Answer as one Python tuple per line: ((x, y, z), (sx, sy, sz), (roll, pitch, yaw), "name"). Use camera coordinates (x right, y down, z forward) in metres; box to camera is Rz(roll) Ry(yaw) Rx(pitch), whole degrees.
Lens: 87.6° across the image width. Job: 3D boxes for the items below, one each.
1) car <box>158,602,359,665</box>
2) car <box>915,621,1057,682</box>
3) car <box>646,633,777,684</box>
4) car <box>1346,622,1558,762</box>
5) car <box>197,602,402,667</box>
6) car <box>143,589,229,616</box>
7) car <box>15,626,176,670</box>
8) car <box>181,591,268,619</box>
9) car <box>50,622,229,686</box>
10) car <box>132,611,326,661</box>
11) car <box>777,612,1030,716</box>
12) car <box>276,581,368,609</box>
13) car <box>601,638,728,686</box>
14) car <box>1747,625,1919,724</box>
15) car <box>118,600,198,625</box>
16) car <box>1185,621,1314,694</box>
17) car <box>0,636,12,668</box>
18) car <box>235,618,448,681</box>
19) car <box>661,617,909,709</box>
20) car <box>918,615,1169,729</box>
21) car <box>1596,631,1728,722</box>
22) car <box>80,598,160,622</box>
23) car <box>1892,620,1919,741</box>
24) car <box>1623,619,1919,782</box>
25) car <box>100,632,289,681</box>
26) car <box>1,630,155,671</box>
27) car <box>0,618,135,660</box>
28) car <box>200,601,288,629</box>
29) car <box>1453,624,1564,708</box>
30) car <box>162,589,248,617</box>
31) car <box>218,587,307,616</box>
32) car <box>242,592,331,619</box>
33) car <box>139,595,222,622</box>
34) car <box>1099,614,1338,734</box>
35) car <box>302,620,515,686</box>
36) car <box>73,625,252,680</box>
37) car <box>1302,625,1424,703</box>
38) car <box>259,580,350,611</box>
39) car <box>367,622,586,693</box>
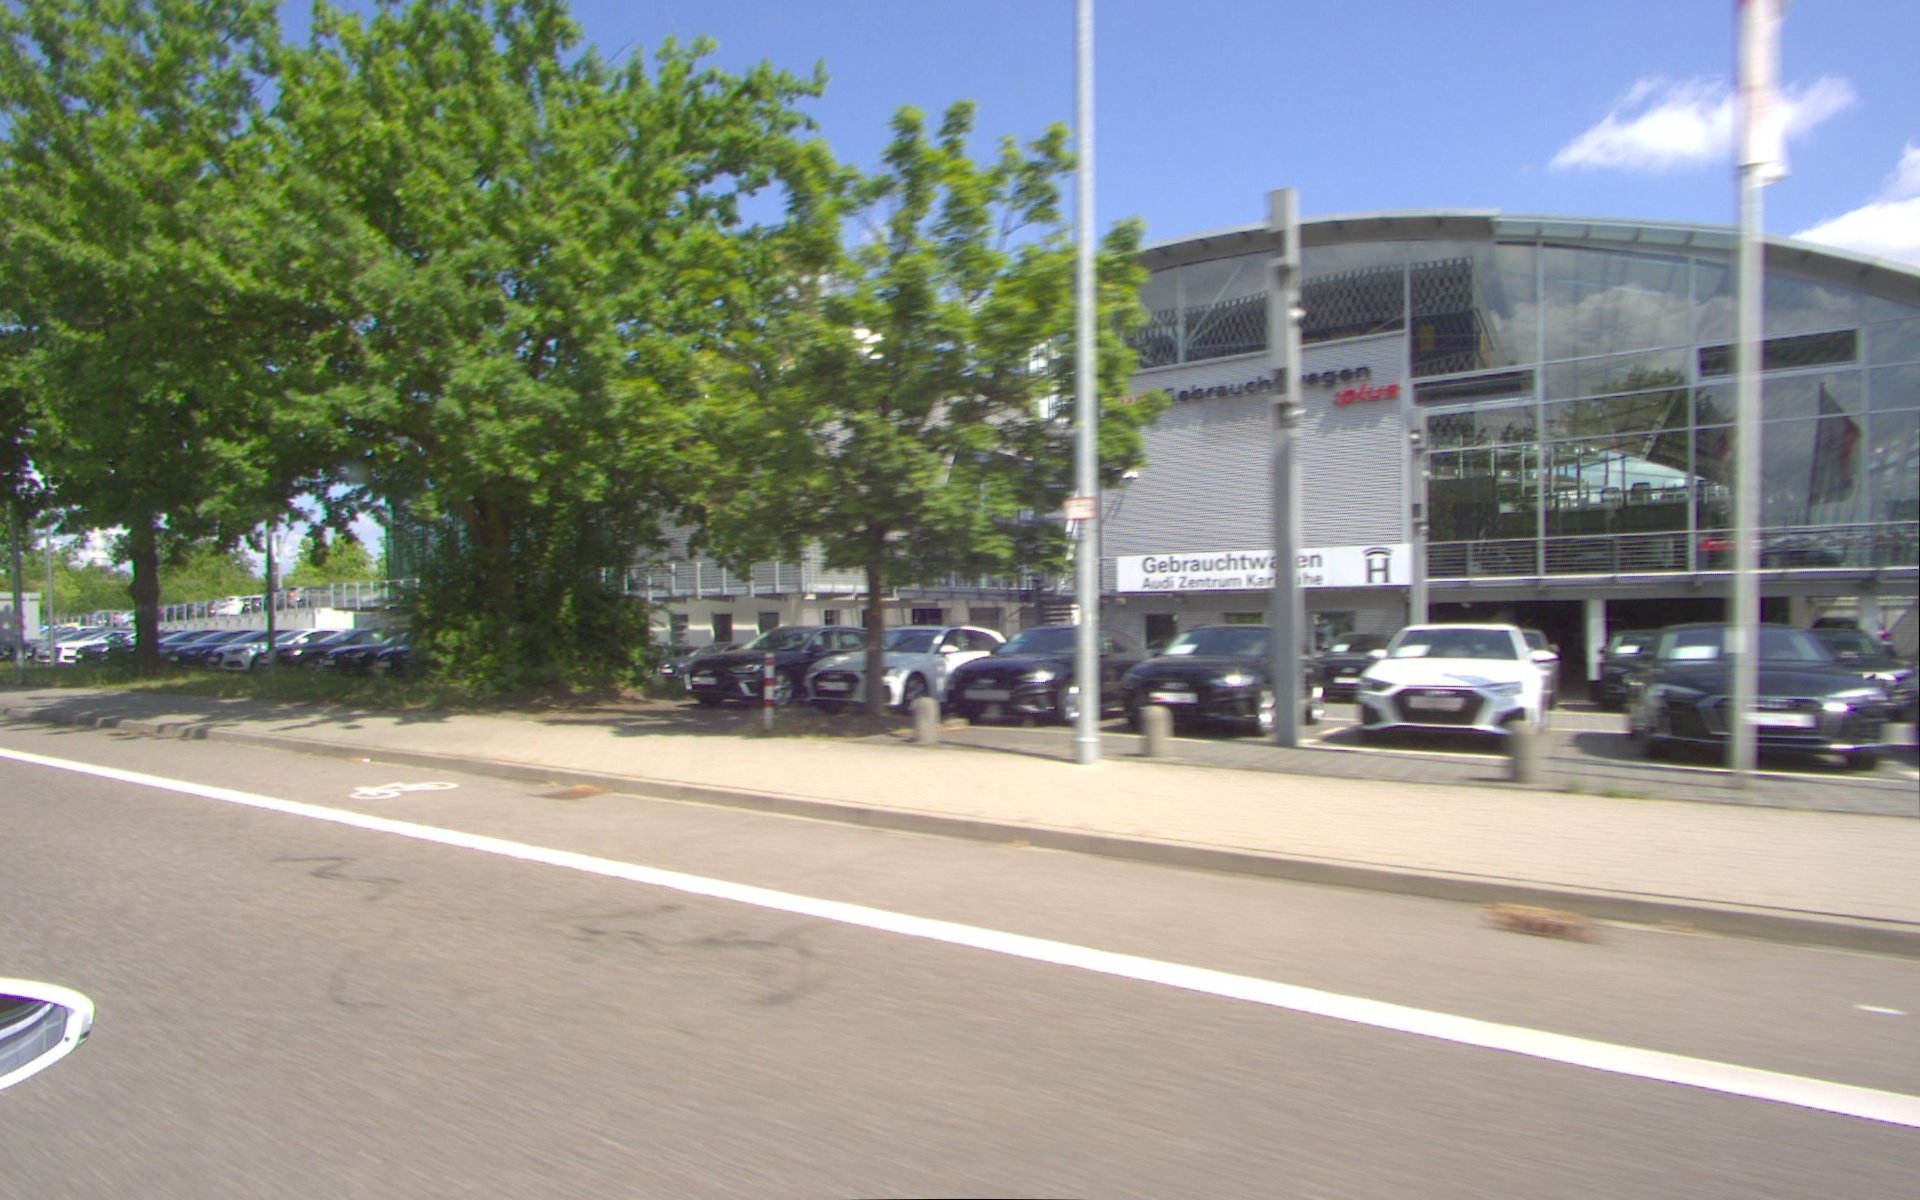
((-20.883, 0.966, 30.002), (1.879, 1.700, 4.567), (1, -1, 32), "car")
((0.823, 1.398, 28.466), (1.883, 1.518, 4.330), (-1, -1, 37), "car")
((-8.565, 1.981, 34.856), (1.880, 1.518, 4.338), (-1, -1, 32), "car")
((6.136, 0.953, 12.182), (1.879, 1.314, 4.567), (1, -1, 32), "car")
((-18.836, 0.957, 28.783), (1.879, 1.700, 4.567), (1, -1, 32), "car")
((-53.836, 0.209, 69.713), (1.909, 1.798, 4.343), (1, -1, 35), "car")
((-31.454, 1.698, 36.548), (1.792, 1.422, 4.099), (-1, -1, 32), "car")
((-49.473, 0.377, 67.408), (1.909, 1.798, 4.343), (1, -1, 35), "car")
((-29.001, 1.830, 35.561), (1.879, 2.076, 4.567), (1, 0, 32), "car")
((-22.829, 1.102, 31.460), (1.879, 1.423, 4.567), (1, -1, 32), "car")
((-0.745, 1.063, 16.566), (1.879, 1.422, 4.571), (1, -3, 32), "car")
((-38.629, -0.278, 60.703), (1.909, 1.572, 4.343), (1, -1, 35), "car")
((-10.734, 2.234, 36.699), (1.880, 1.518, 4.338), (-1, -1, 32), "car")
((15.953, 1.256, 18.346), (1.880, 1.518, 4.338), (-1, -1, 32), "car")
((-59.782, 0.952, 74.709), (1.909, 1.798, 4.343), (1, -1, 35), "car")
((7.031, 1.295, 24.014), (1.880, 1.518, 4.338), (-1, -1, 32), "car")
((-49.956, 2.586, 49.337), (1.907, 1.532, 4.349), (1, -1, 30), "car")
((-16.634, 1.277, 27.182), (1.880, 1.518, 4.566), (-1, -1, 32), "car")
((-3.005, 1.095, 18.211), (1.879, 1.423, 4.569), (1, -2, 32), "car")
((1.436, 1.025, 15.049), (1.879, 1.401, 4.570), (1, -2, 32), "car")
((13.941, 1.434, 20.100), (1.880, 1.518, 4.338), (-1, -1, 32), "car")
((-64.743, 0.783, 77.231), (1.909, 1.798, 4.343), (1, -1, 35), "car")
((10.656, 0.863, 9.405), (1.879, 1.314, 4.567), (1, -1, 32), "car")
((8.351, 0.888, 10.737), (1.879, 1.314, 4.567), (1, -1, 32), "car")
((-24.994, 1.789, 32.880), (1.879, 1.423, 4.567), (1, -1, 32), "car")
((-33.698, 1.888, 38.373), (1.829, 1.464, 4.099), (-1, -1, 32), "car")
((-35.895, 1.525, 39.876), (1.829, 1.532, 4.346), (-1, -1, 32), "car")
((-47.312, 0.997, 66.253), (1.909, 1.798, 4.343), (1, -1, 35), "car")
((11.811, 1.328, 21.420), (1.880, 1.518, 4.338), (-1, -1, 32), "car")
((-51.621, 0.205, 68.546), (1.909, 1.798, 4.343), (1, -1, 35), "car")
((-45.108, 0.125, 64.860), (1.909, 1.798, 4.343), (1, -1, 35), "car")
((-42.763, 0.368, 63.676), (1.909, 1.572, 4.343), (1, -1, 35), "car")
((-55.784, 0.626, 71.751), (1.909, 1.798, 4.343), (1, -1, 35), "car")
((3.713, 1.004, 13.706), (1.879, 1.313, 4.572), (1, -4, 32), "car")
((-14.280, 1.314, 26.207), (1.880, 1.518, 4.566), (-1, -1, 32), "car")
((-27.083, 1.829, 34.171), (1.760, 1.530, 4.347), (1, -5, 32), "car")
((9.287, 1.373, 22.859), (1.880, 1.518, 4.338), (-1, -1, 32), "car")
((-40.561, -0.270, 62.017), (1.909, 1.798, 4.343), (1, -1, 35), "car")
((-11.722, 1.339, 24.610), (1.880, 1.518, 4.566), (-1, -1, 32), "car")
